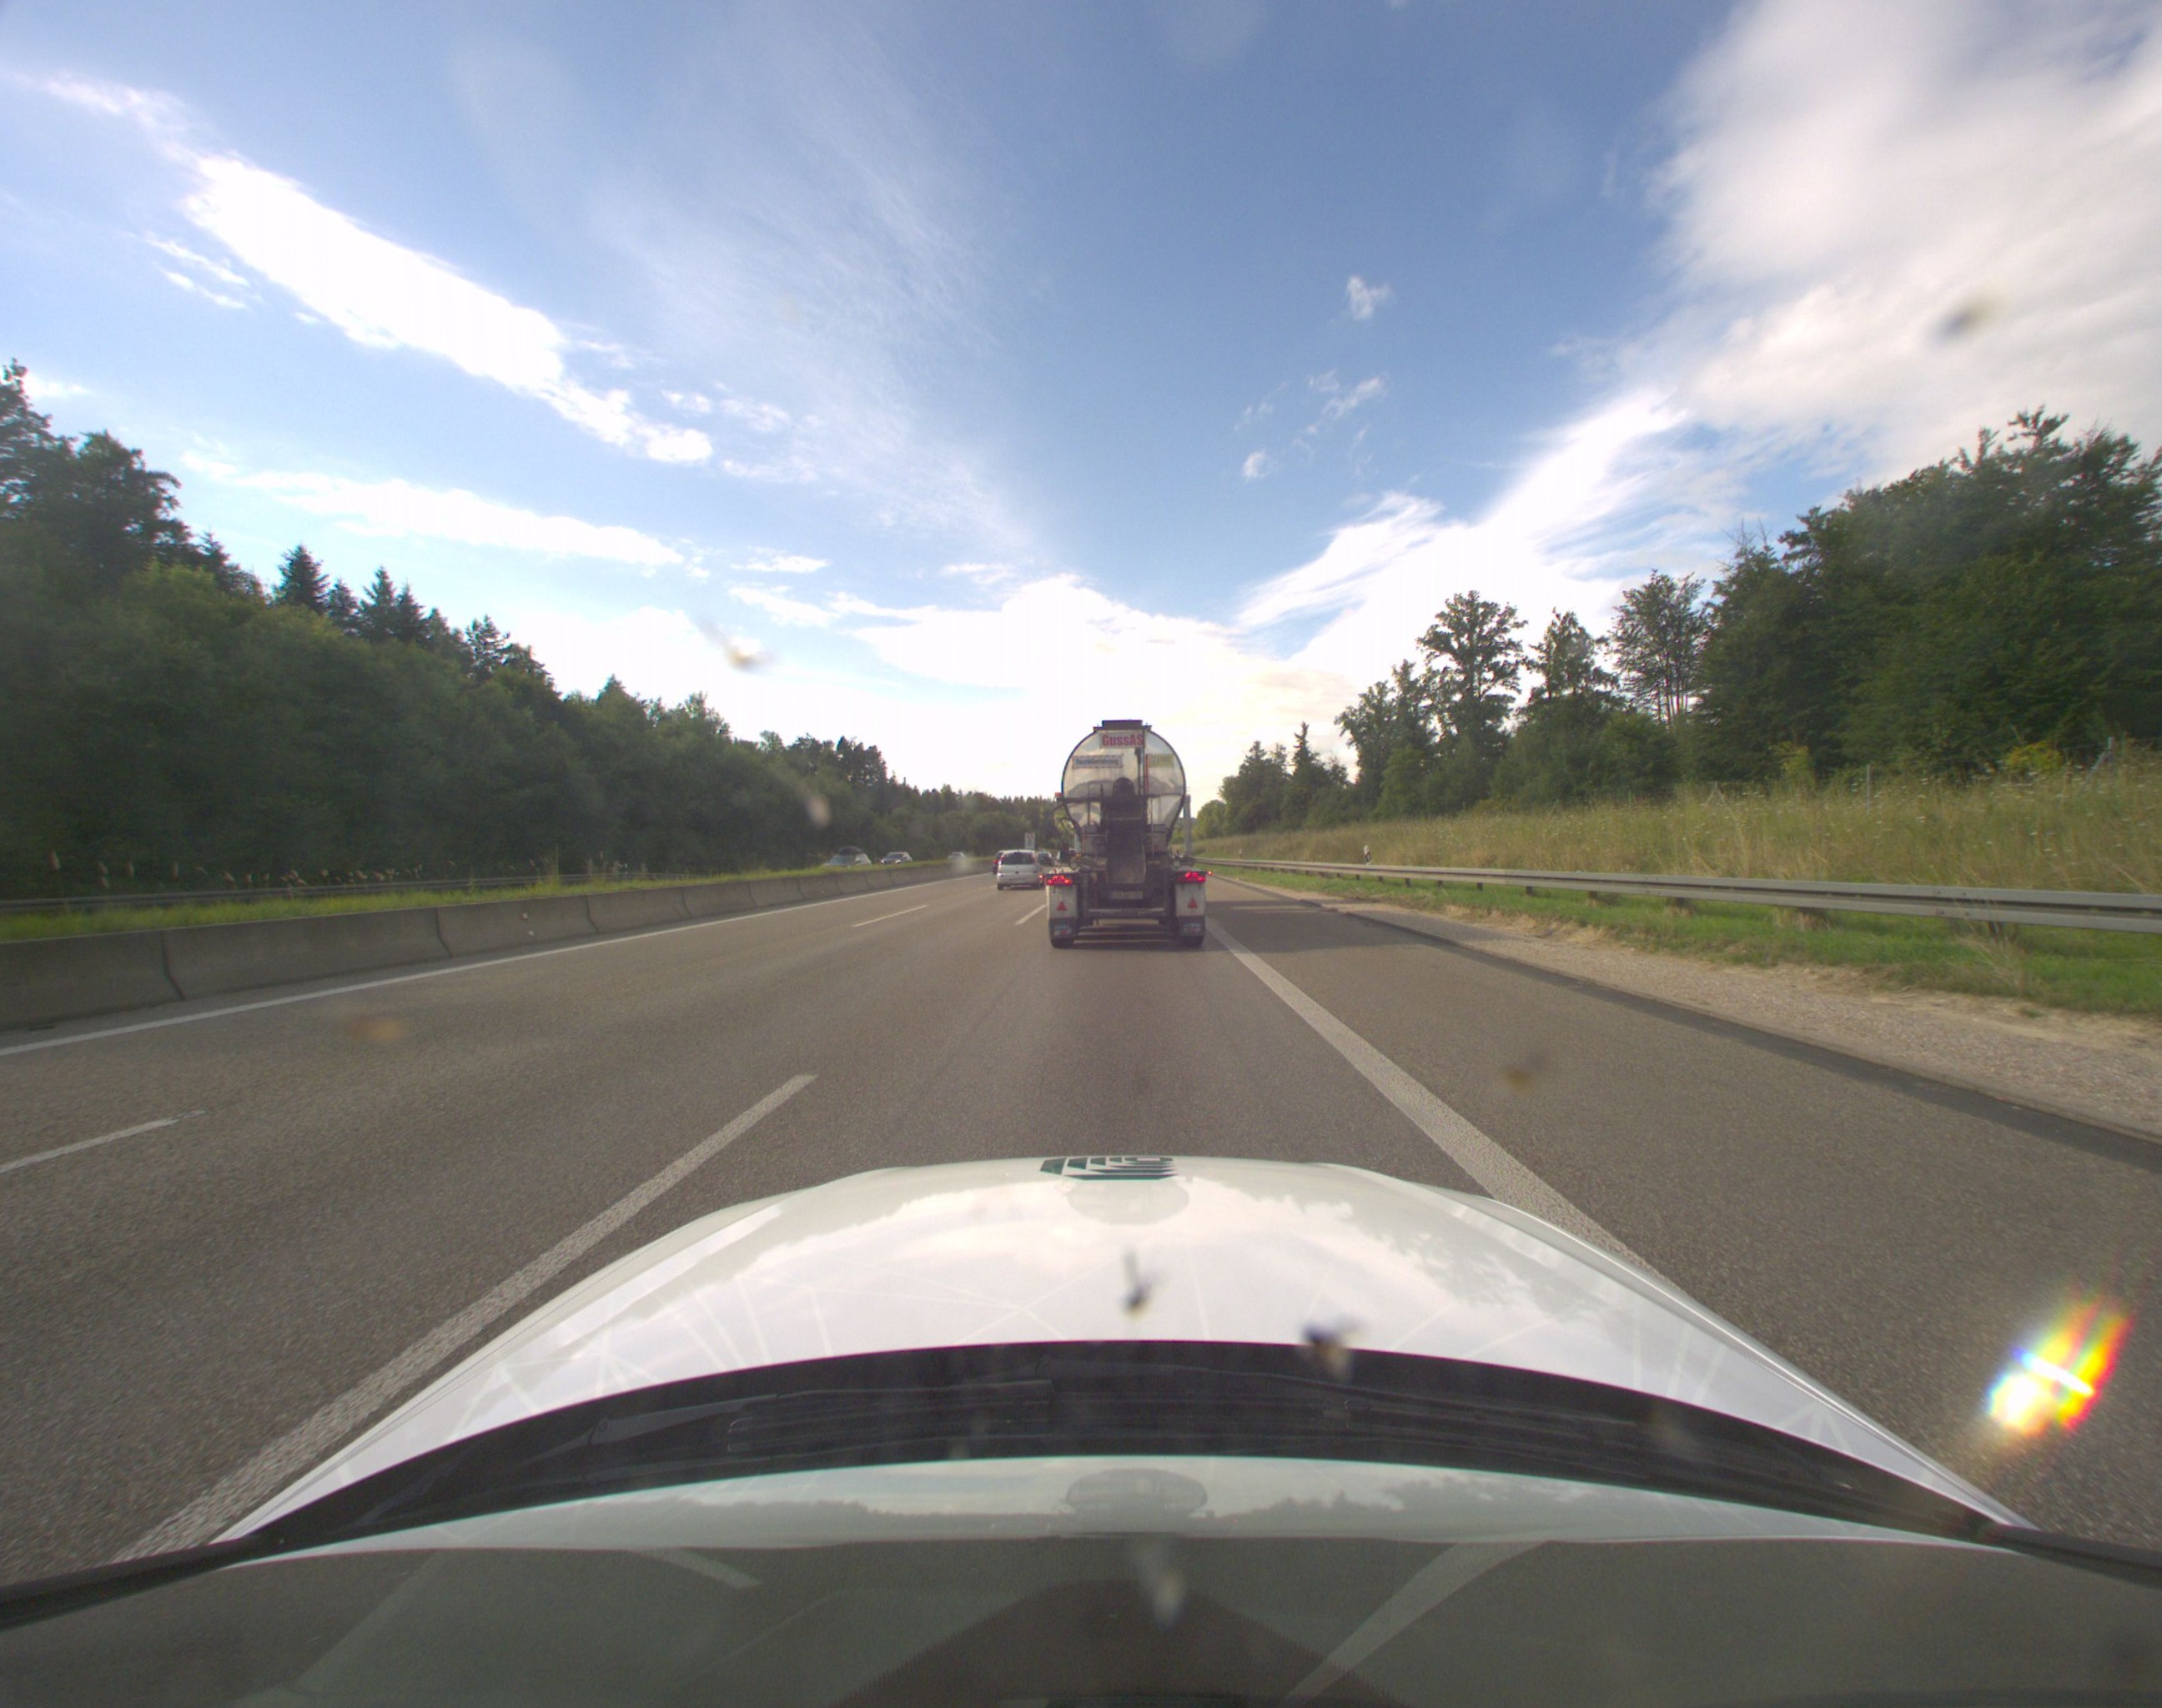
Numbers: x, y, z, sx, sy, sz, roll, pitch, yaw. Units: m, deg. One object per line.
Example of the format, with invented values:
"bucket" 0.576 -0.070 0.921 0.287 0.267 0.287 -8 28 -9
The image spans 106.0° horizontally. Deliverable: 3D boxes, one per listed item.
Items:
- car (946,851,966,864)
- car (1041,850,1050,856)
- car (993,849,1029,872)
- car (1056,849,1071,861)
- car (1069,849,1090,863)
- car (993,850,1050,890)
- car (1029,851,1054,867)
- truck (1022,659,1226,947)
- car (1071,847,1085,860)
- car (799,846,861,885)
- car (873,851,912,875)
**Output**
"car" -17.151 0.446 111.630 1.872 1.628 4.572 -1 0 2
"car" -9.522 -0.276 218.478 1.809 1.290 3.547 -1 0 3
"car" -4.739 0.419 55.619 1.828 1.517 4.336 -1 0 3
"car" -2.168 0.121 102.246 1.612 1.544 3.522 -1 0 2
"car" -0.118 0.213 89.951 2.051 1.499 5.740 -1 0 3
"car" -2.379 0.618 33.675 1.828 1.517 4.336 -1 0 3
"car" -3.698 0.420 77.299 1.848 1.431 4.845 -1 0 3
"truck" 0.936 -0.773 17.543 2.900 4.157 11.279 -1 0 3
"car" -0.393 -0.081 120.233 1.839 1.783 4.002 -1 0 2
"car" -13.733 0.604 44.884 1.986 2.013 4.074 -1 0 2
"car" -15.721 0.717 68.113 1.986 1.881 4.440 -1 0 2
